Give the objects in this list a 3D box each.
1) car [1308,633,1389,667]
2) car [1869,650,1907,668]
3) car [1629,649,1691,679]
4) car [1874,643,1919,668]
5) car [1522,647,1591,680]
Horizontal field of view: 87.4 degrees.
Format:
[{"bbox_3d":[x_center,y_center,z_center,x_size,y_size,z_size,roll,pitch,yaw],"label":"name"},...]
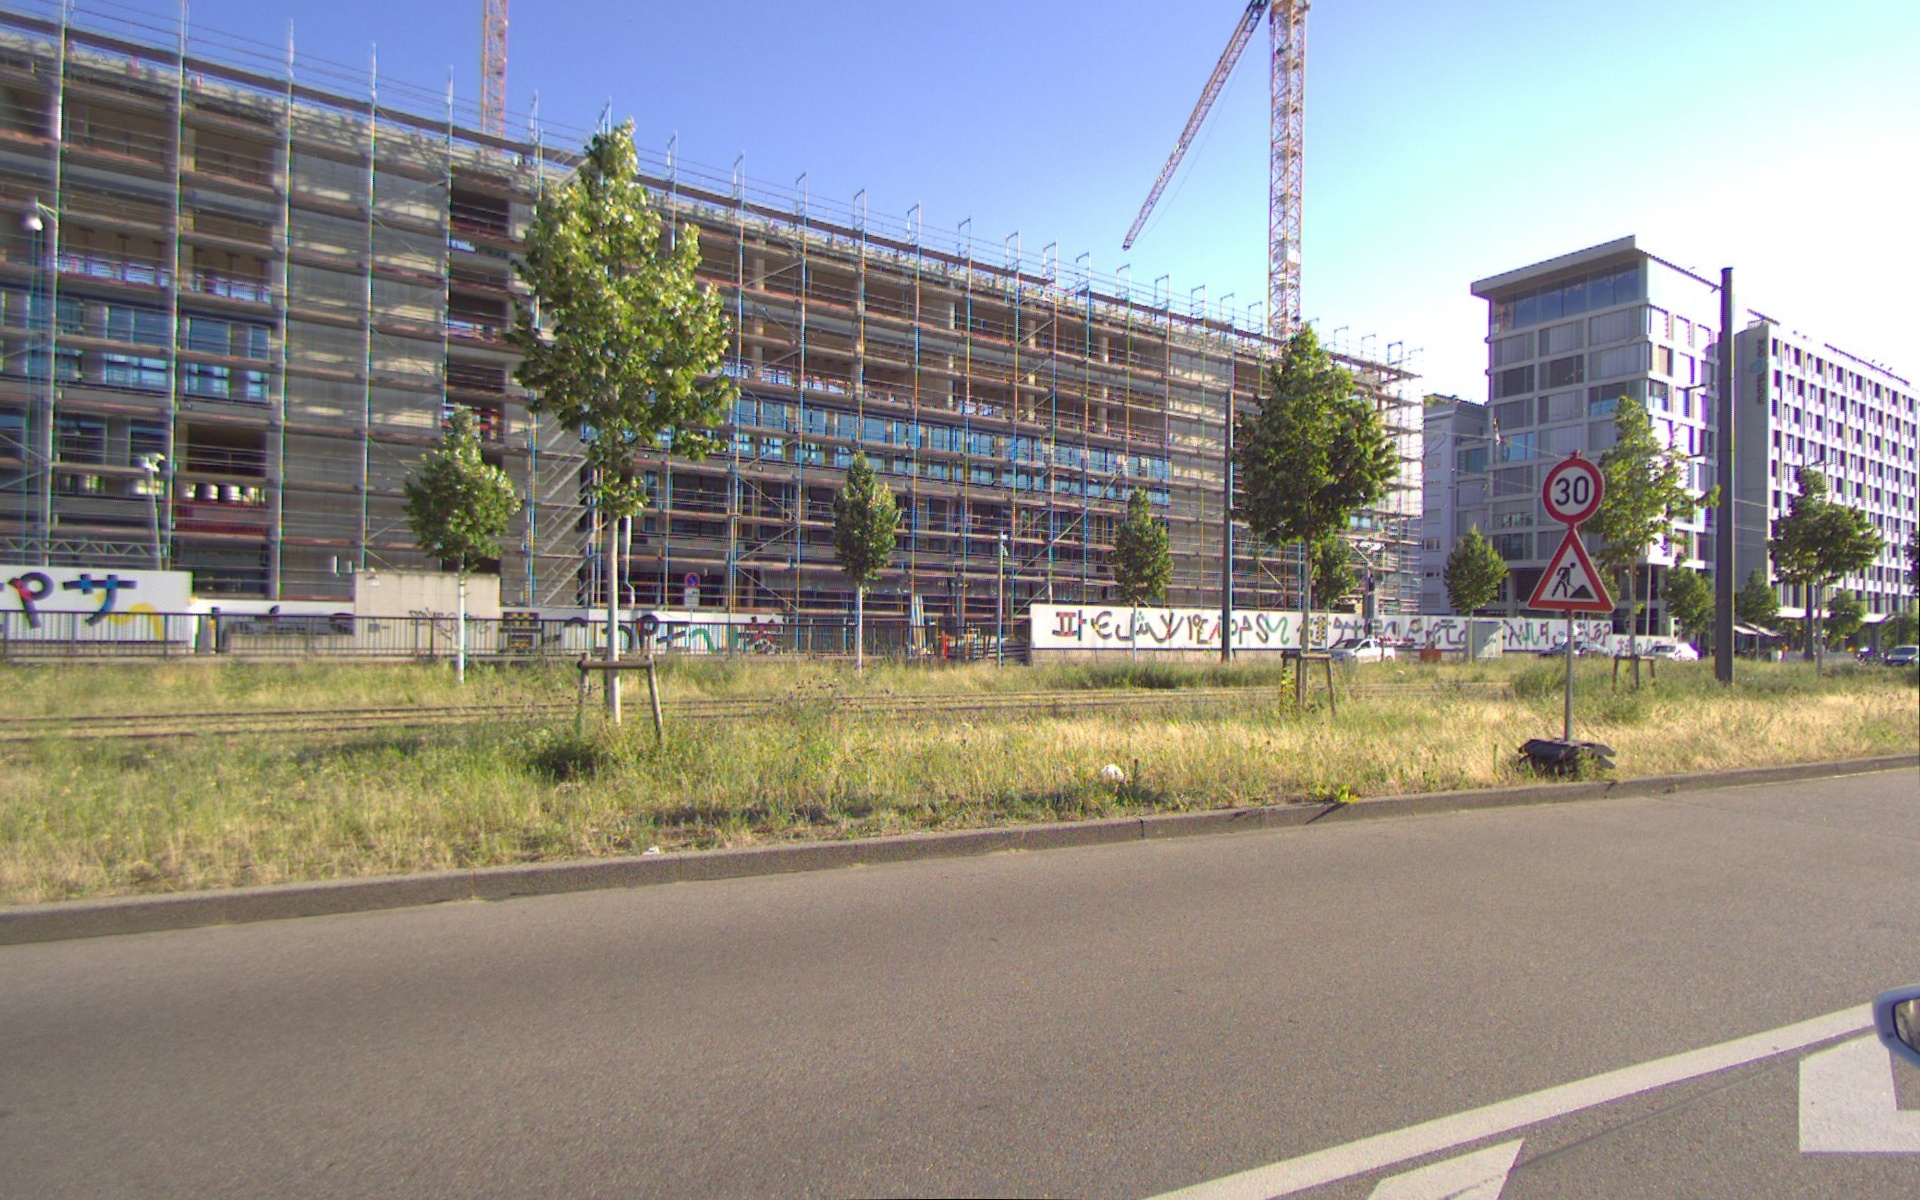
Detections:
[{"bbox_3d":[17.901,2.296,46.236,3.543,1.461,1.699,2,-1,-32],"label":"car"},{"bbox_3d":[83.689,5.312,90.574,3.543,1.461,1.699,2,-1,-32],"label":"car"},{"bbox_3d":[42.941,3.938,61.632,3.597,1.706,1.781,2,-1,-31],"label":"car"},{"bbox_3d":[69.595,4.118,74.326,3.592,1.706,1.783,2,-1,-27],"label":"car"},{"bbox_3d":[33.254,3.534,55.972,3.597,1.706,1.781,2,-1,-31],"label":"car"}]
